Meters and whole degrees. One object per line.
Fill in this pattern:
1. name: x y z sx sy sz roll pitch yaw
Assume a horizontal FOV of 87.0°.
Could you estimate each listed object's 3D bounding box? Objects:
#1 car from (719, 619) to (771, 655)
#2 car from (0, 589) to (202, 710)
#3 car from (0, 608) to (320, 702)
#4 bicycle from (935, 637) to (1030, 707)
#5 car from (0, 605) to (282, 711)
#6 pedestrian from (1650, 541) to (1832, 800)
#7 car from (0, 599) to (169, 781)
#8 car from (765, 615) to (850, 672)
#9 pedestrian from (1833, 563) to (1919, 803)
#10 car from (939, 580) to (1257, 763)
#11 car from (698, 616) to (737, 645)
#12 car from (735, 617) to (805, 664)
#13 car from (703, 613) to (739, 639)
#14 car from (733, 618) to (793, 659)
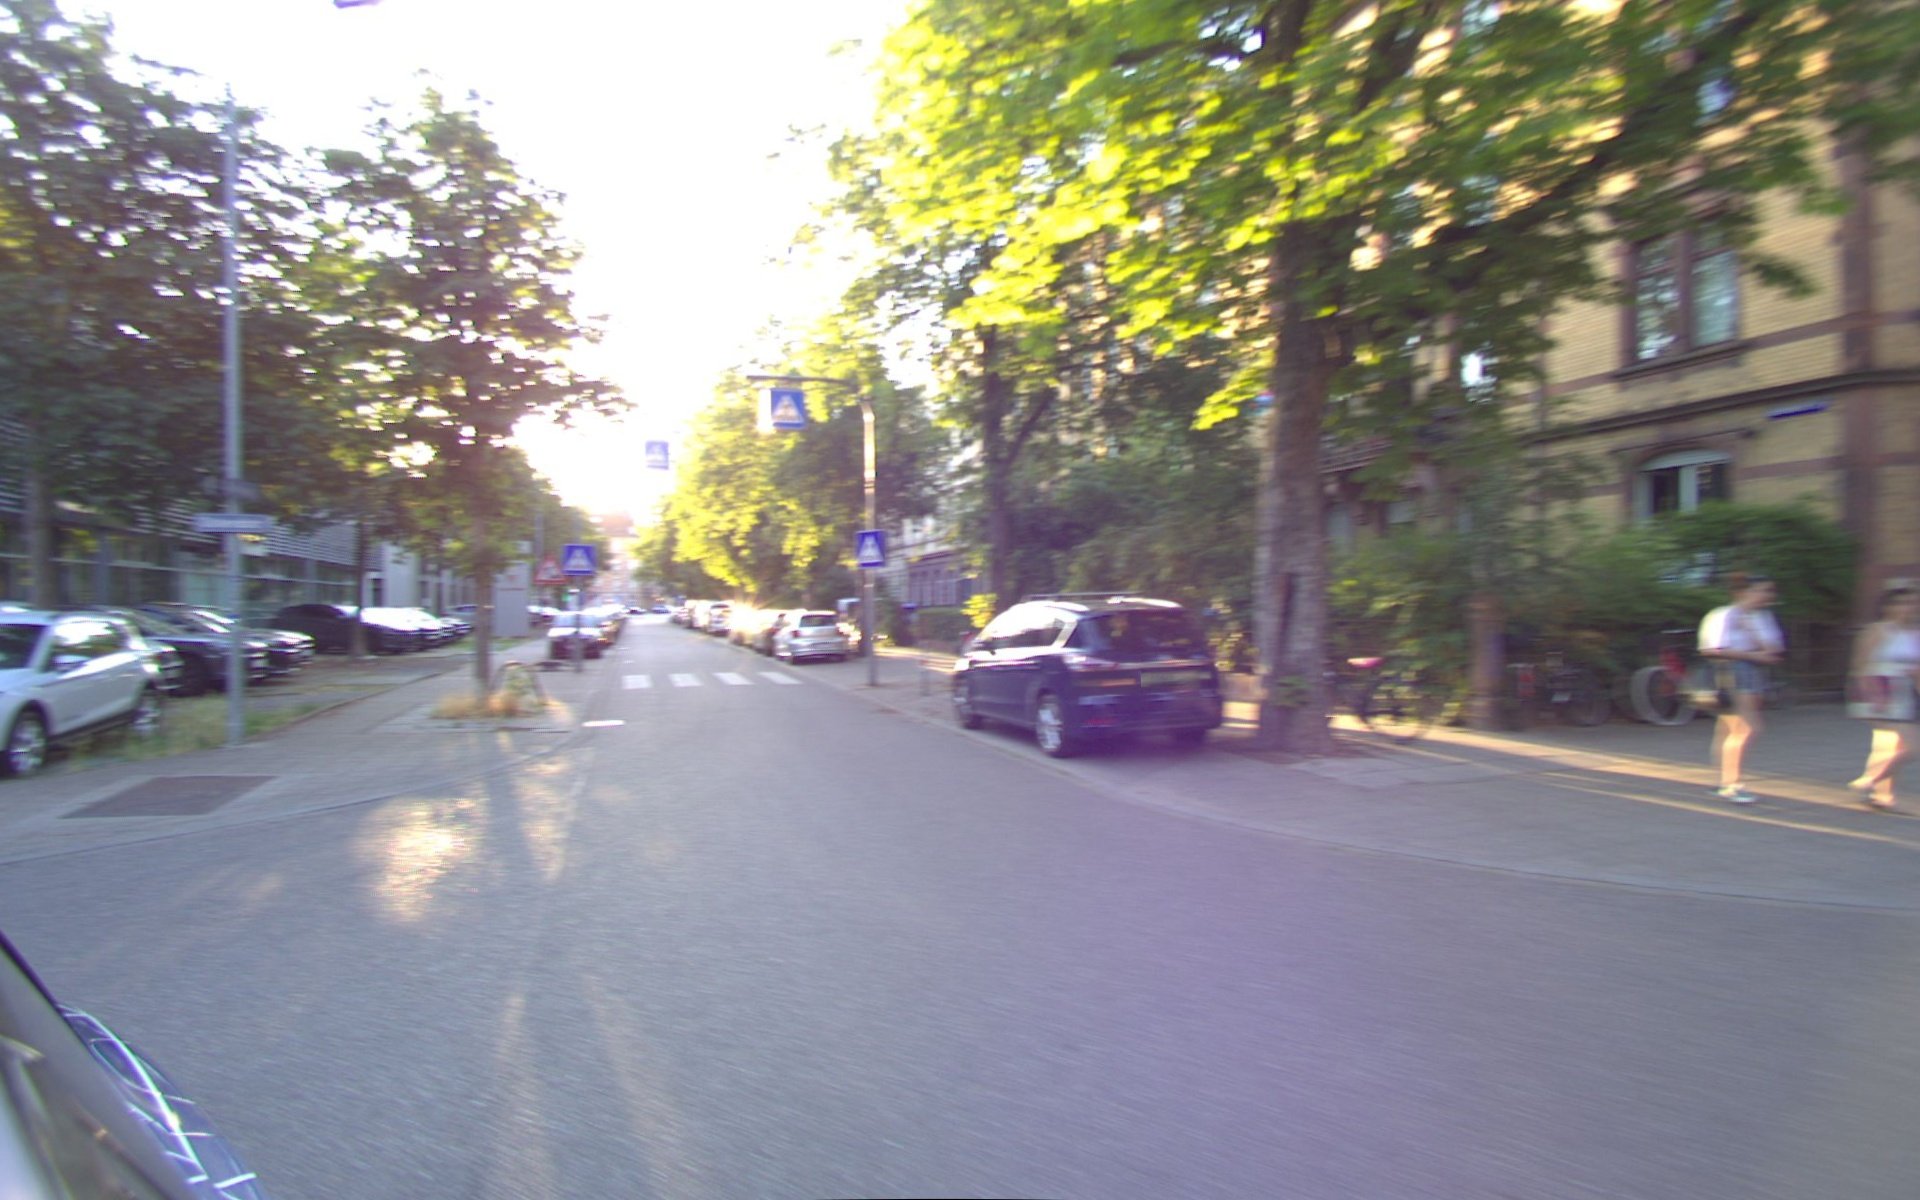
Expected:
1. car: -9.303 1.563 43.626 1.590 1.452 4.118 -2 -1 -20
2. car: -14.085 0.724 14.743 4.513 1.656 1.878 -1 -1 -18
3. car: -15.158 1.007 19.432 4.513 1.584 1.878 -1 -1 -18
4. bicycle: 0.346 1.144 16.570 0.596 1.044 1.813 -2 0 -33
5. car: -14.467 0.949 17.228 4.513 1.628 1.878 -1 -1 -18
6. pedestrian: 6.035 0.510 7.839 0.677 1.849 1.010 1 -1 -44
7. car: -9.705 0.825 10.020 1.738 1.584 3.914 0 -1 -18
8. car: -4.478 1.212 29.259 1.590 1.452 3.766 -3 0 -21
9. pedestrian: 6.893 0.571 7.126 0.677 1.643 1.054 1 -1 -44
10. car: 1.341 0.719 12.043 1.840 1.700 4.606 -1 -1 -19
11. car: -13.492 1.683 56.150 1.590 1.452 4.118 -2 -1 -20
12. car: -6.467 1.325 34.095 1.590 1.452 4.324 -2 -1 -20
13. car: -14.377 1.569 60.718 1.590 1.452 4.118 -2 -1 -20
14. car: -7.637 1.446 38.983 1.590 1.452 4.324 -2 -1 -20
